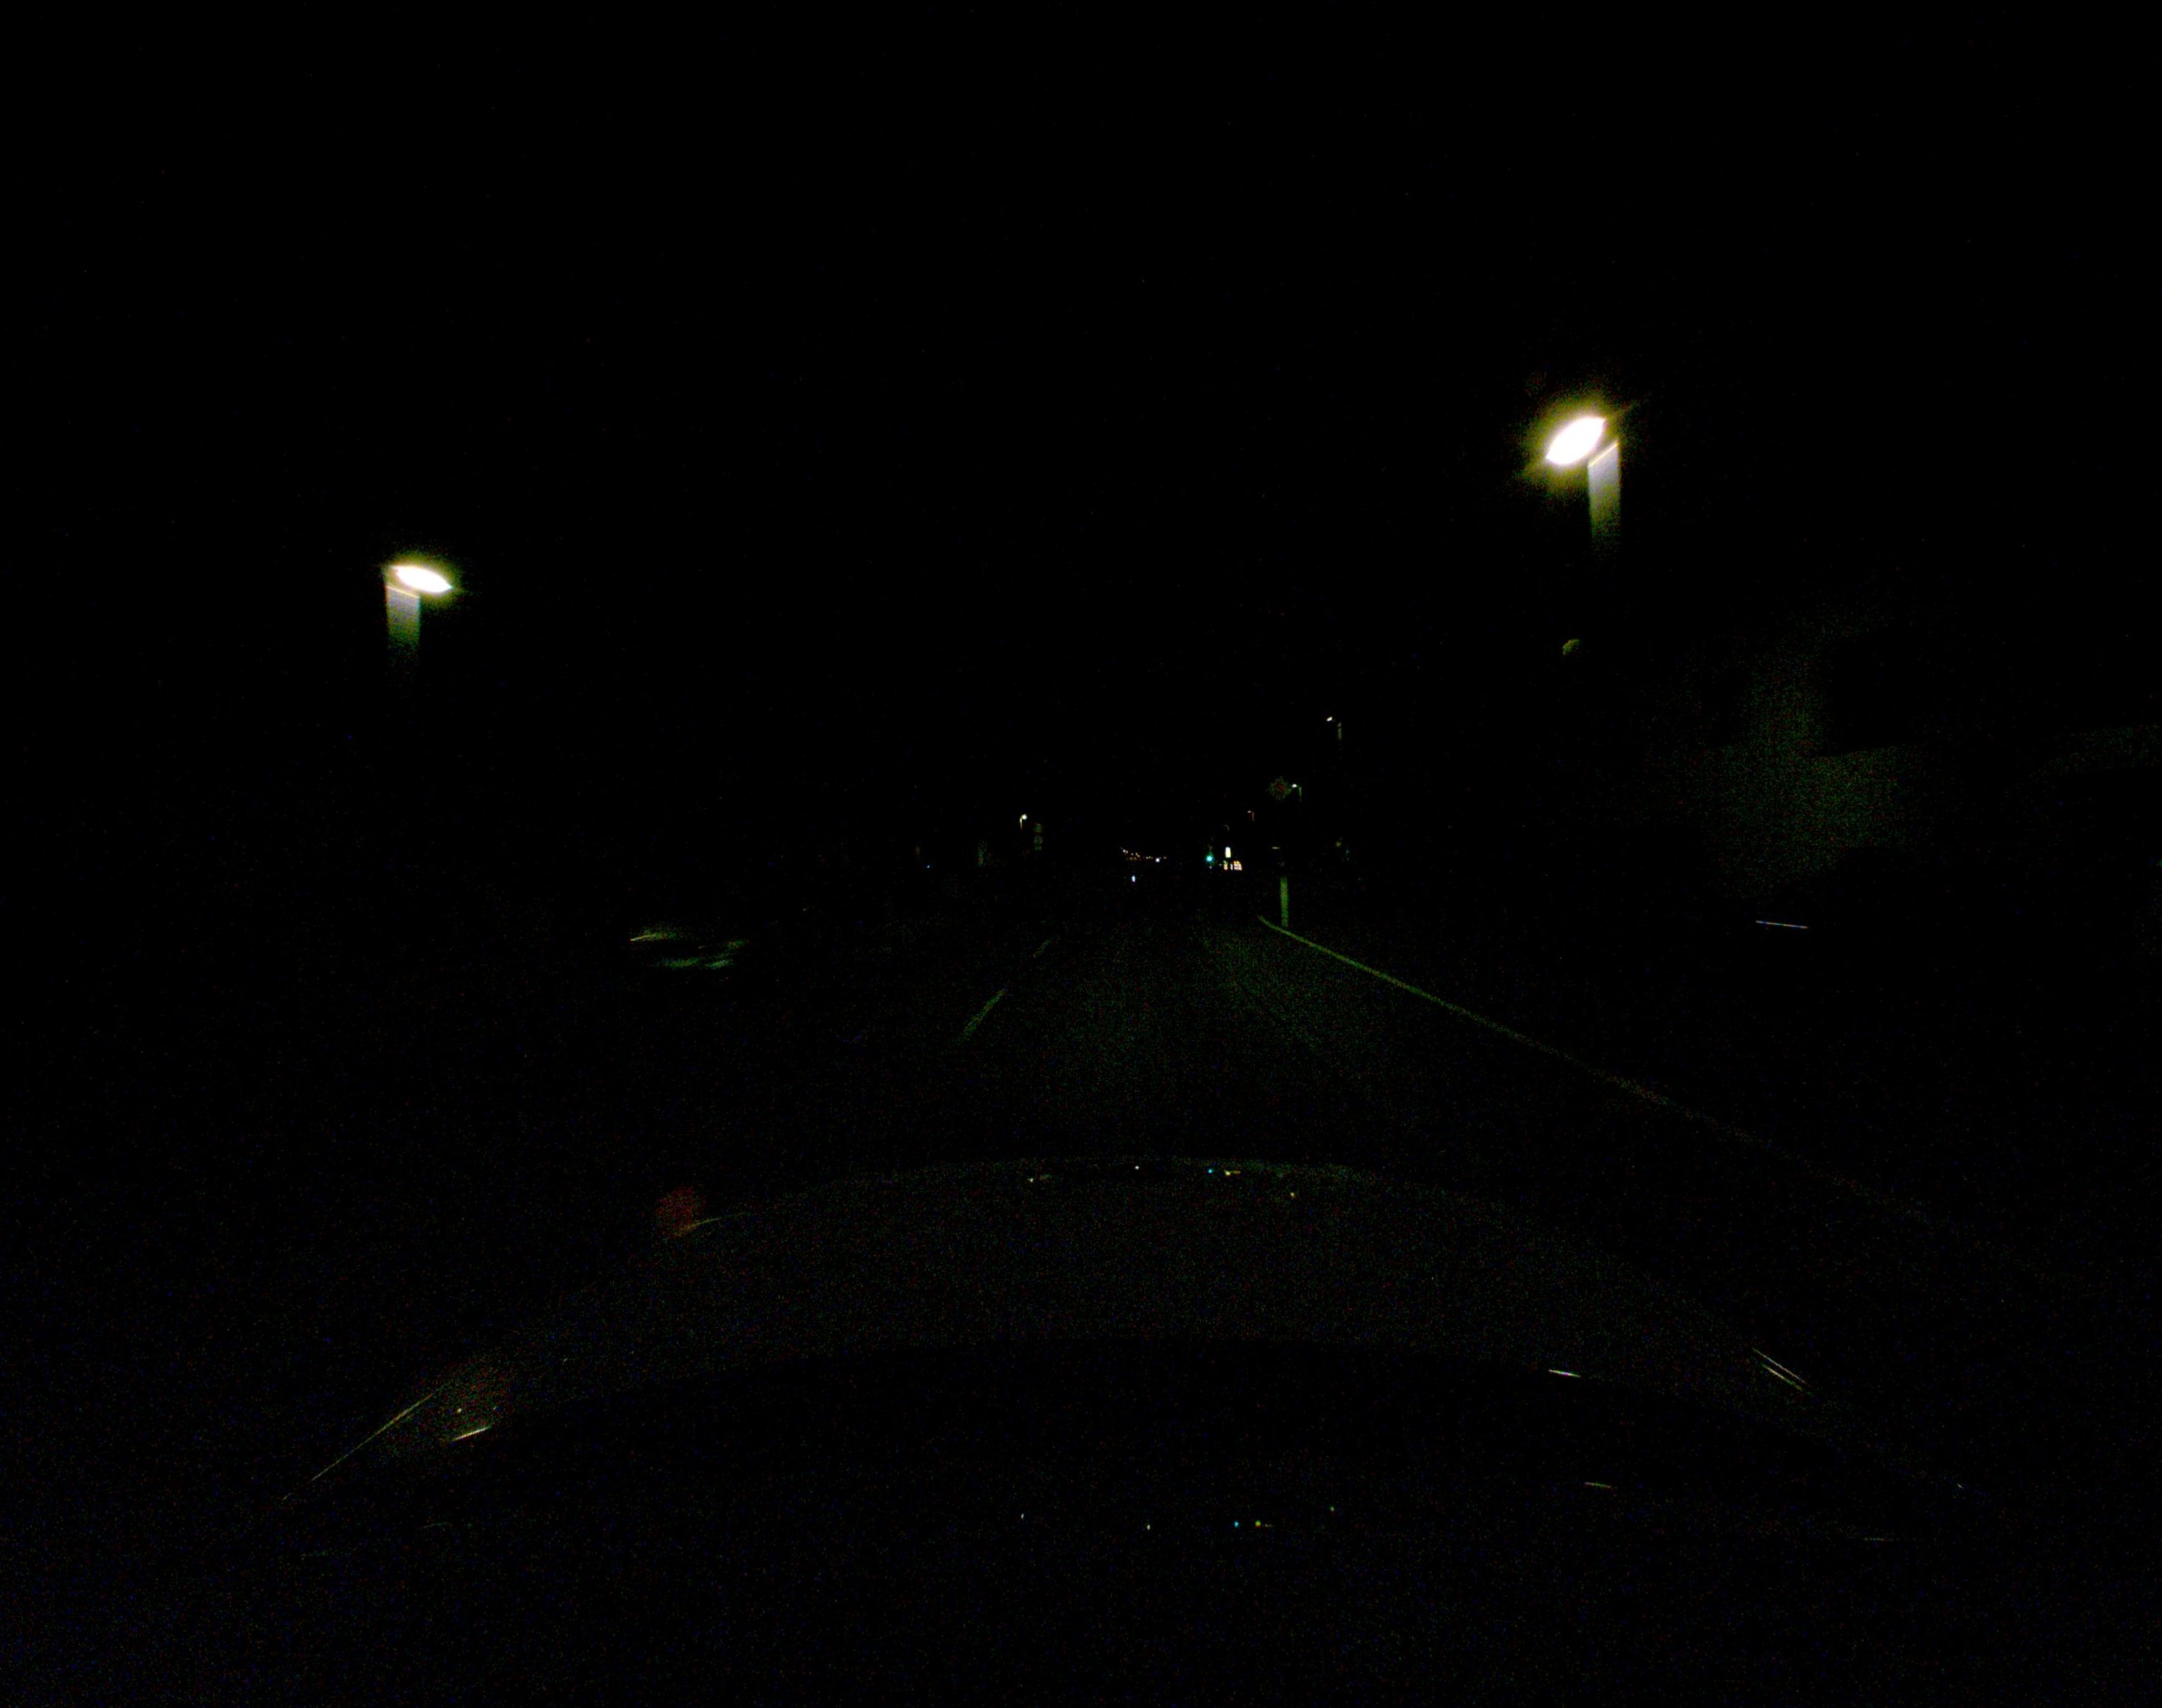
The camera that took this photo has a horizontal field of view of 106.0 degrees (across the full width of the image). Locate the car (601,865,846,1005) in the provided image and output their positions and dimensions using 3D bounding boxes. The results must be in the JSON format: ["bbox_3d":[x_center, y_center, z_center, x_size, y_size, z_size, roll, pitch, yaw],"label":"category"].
[{"bbox_3d":[-4.868,0.998,11.761,1.666,1.591,3.988,-1,0,1],"label":"car"}]

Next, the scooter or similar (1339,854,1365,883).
[{"bbox_3d":[12.542,0.658,37.751,0.609,1.281,1.690,-1,0,0],"label":"scooter or similar"}]

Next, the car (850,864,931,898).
[{"bbox_3d":[-9.980,1.408,42.755,3.681,1.627,1.792,-3,-1,20],"label":"car"}]

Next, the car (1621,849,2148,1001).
[{"bbox_3d":[7.440,0.608,7.818,3.380,1.232,1.724,1,0,0],"label":"car"}]

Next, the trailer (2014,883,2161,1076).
[{"bbox_3d":[7.479,0.713,4.052,3.419,1.002,1.955,1,0,1],"label":"trailer"}]
